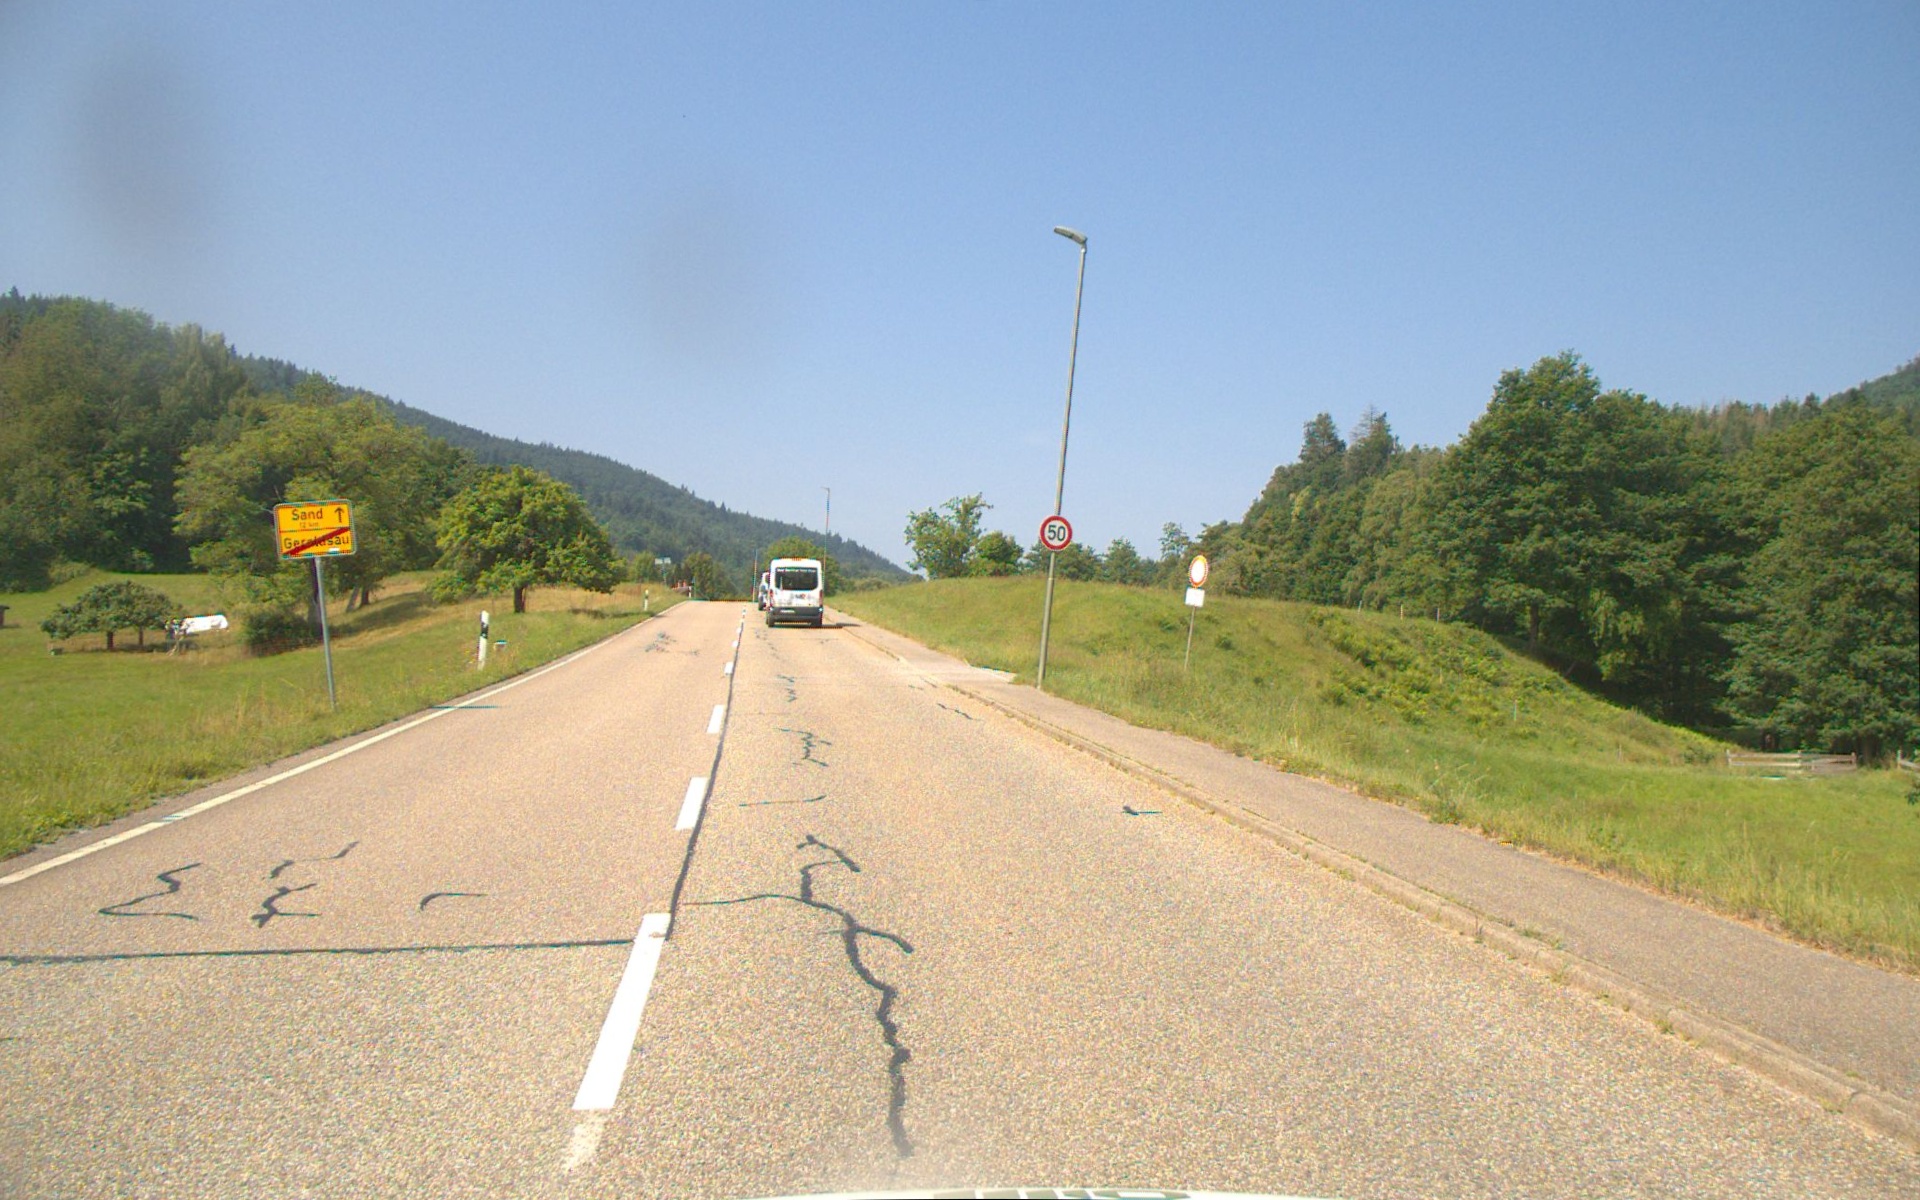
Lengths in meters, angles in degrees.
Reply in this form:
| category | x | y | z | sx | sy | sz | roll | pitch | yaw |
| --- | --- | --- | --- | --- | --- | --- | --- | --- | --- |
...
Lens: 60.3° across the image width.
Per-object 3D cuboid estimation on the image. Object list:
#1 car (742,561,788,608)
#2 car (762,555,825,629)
| category | x | y | z | sx | sy | sz | roll | pitch | yaw |
| --- | --- | --- | --- | --- | --- | --- | --- | --- | --- |
| car | -10.483 | -0.780 | 88.767 | 2.182 | 2.327 | 4.972 | -1 | -1 | -10 |
| car | -6.263 | -0.254 | 61.871 | 2.180 | 2.570 | 4.975 | -1 | -1 | -7 |
